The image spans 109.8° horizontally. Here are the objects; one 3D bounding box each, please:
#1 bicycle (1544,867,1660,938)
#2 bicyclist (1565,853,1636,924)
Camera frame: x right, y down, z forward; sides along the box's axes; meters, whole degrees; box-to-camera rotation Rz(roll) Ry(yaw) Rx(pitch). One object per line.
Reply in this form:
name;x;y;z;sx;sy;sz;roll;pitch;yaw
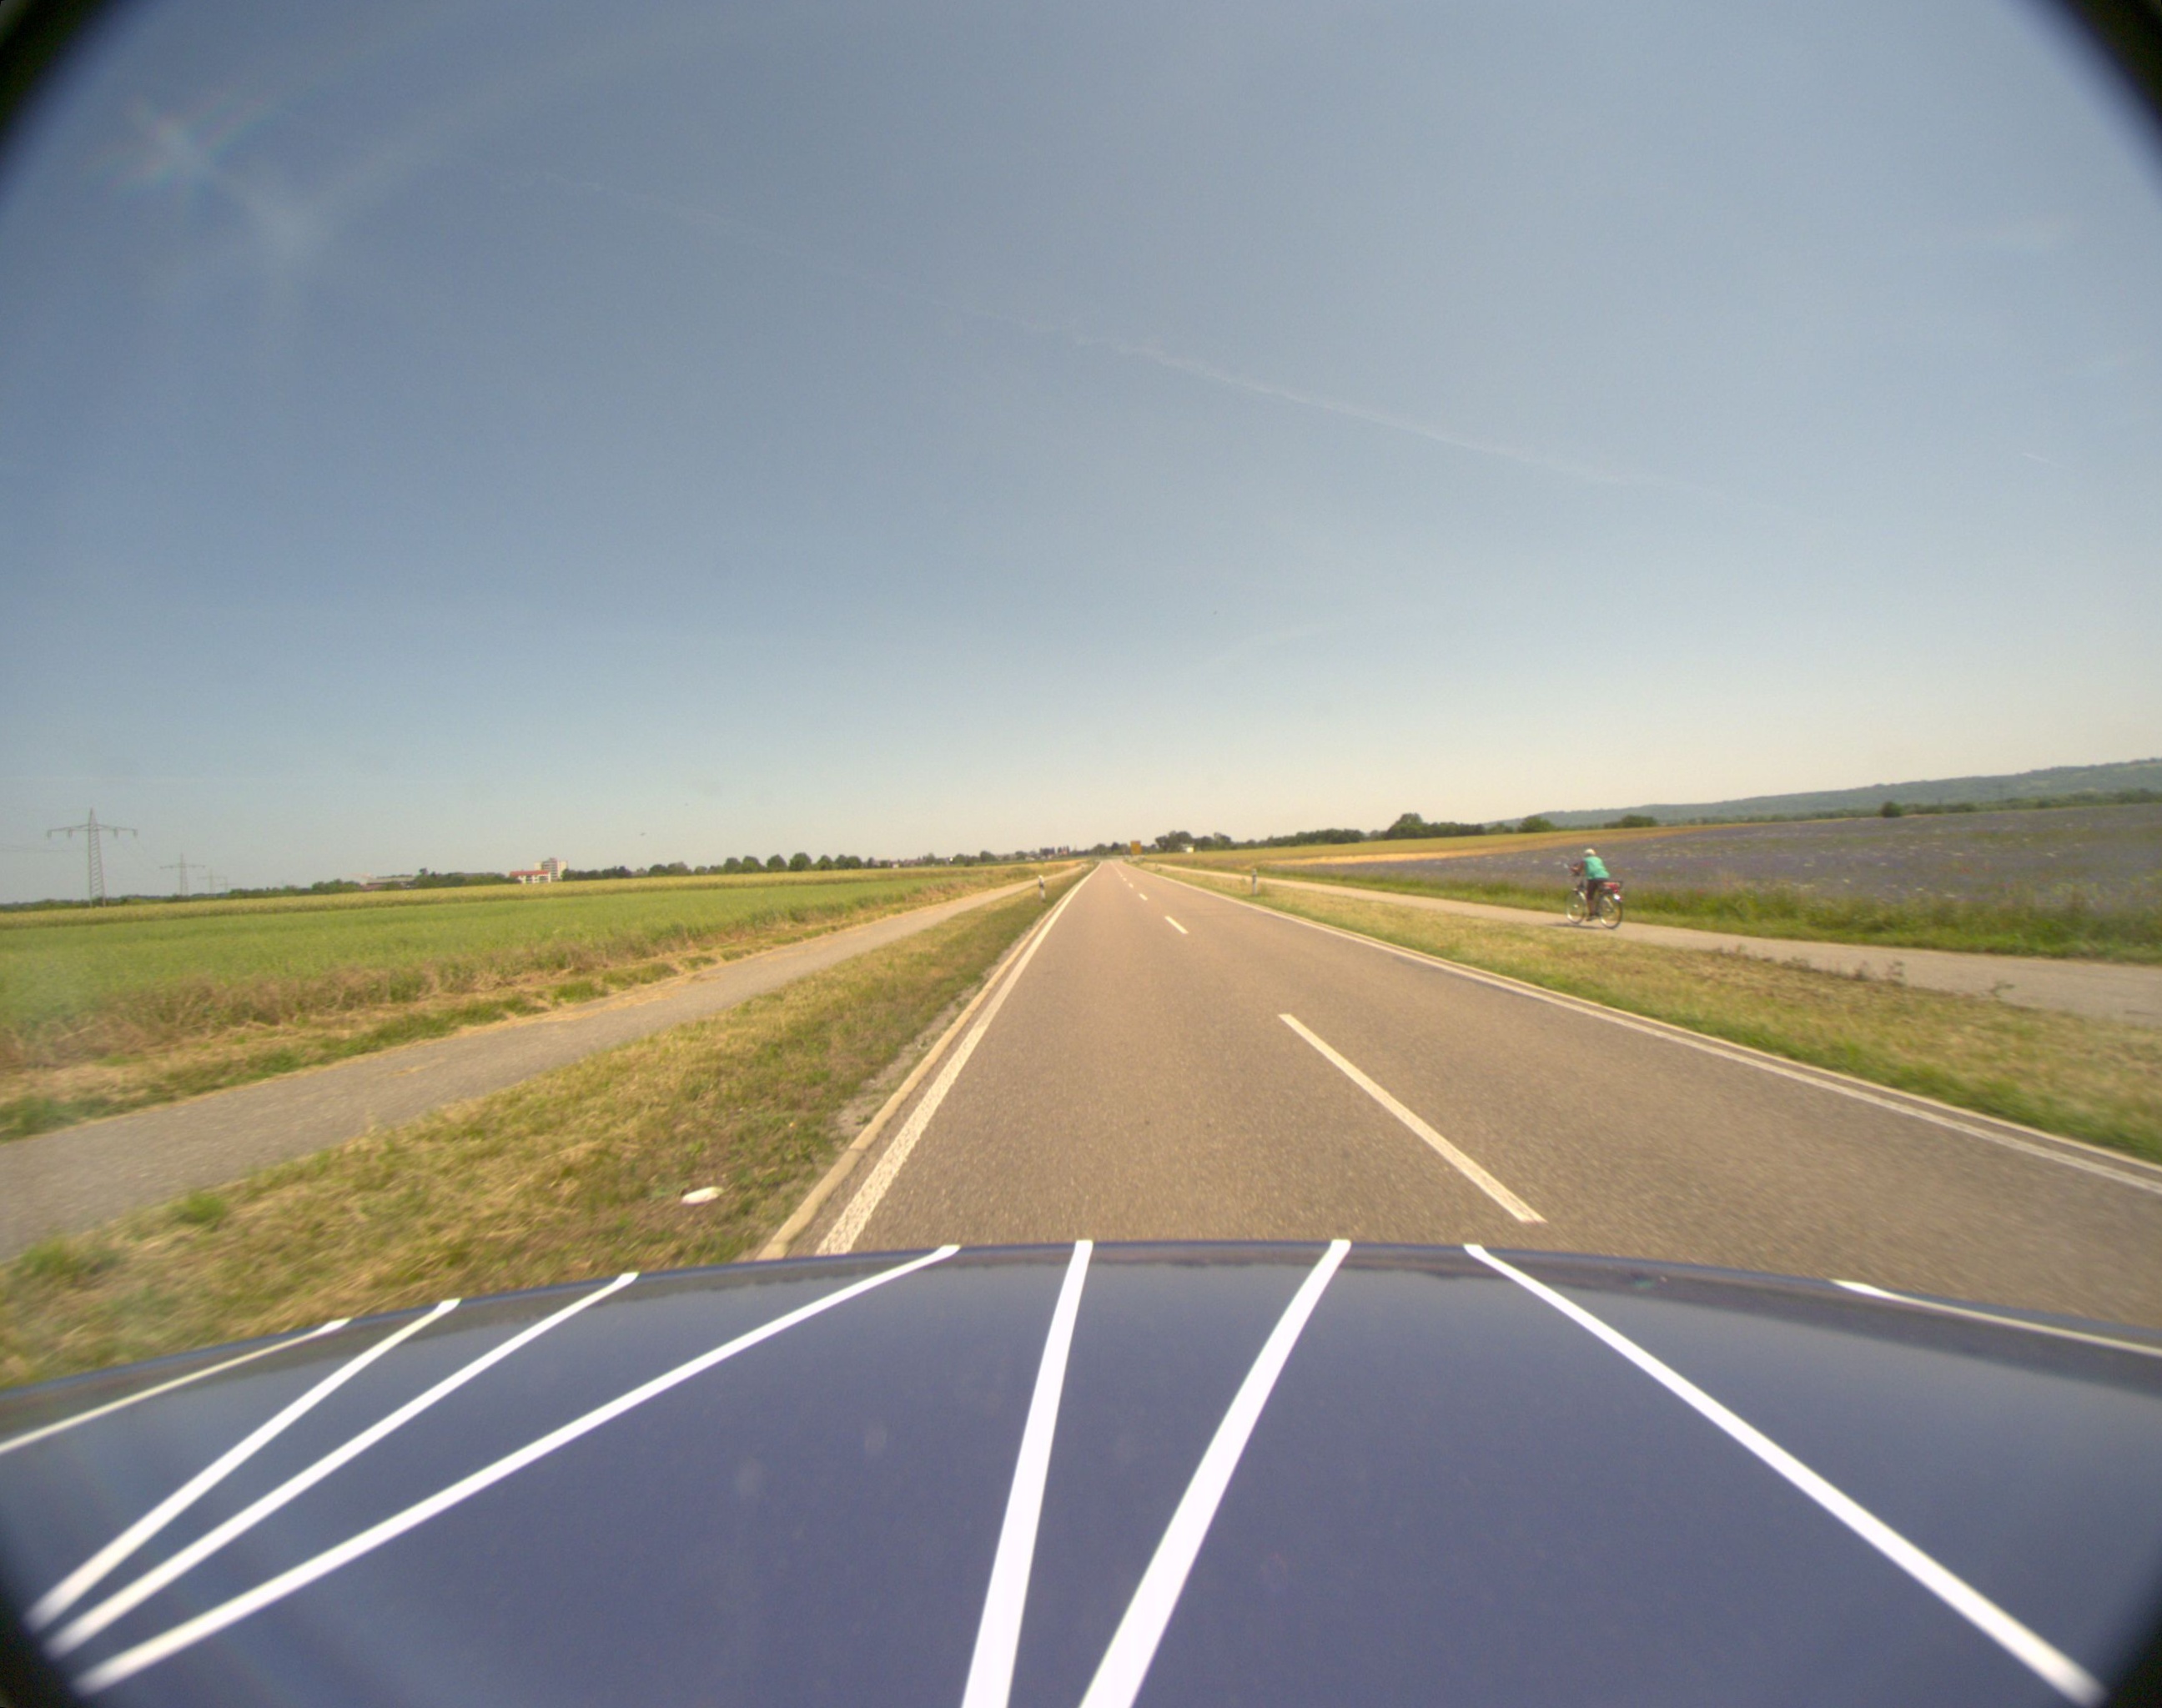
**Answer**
bicycle;10.150;0.899;14.924;0.764;1.222;2.216;-2;0;2
bicyclist;10.159;0.658;14.884;0.703;1.323;0.965;-2;1;2
